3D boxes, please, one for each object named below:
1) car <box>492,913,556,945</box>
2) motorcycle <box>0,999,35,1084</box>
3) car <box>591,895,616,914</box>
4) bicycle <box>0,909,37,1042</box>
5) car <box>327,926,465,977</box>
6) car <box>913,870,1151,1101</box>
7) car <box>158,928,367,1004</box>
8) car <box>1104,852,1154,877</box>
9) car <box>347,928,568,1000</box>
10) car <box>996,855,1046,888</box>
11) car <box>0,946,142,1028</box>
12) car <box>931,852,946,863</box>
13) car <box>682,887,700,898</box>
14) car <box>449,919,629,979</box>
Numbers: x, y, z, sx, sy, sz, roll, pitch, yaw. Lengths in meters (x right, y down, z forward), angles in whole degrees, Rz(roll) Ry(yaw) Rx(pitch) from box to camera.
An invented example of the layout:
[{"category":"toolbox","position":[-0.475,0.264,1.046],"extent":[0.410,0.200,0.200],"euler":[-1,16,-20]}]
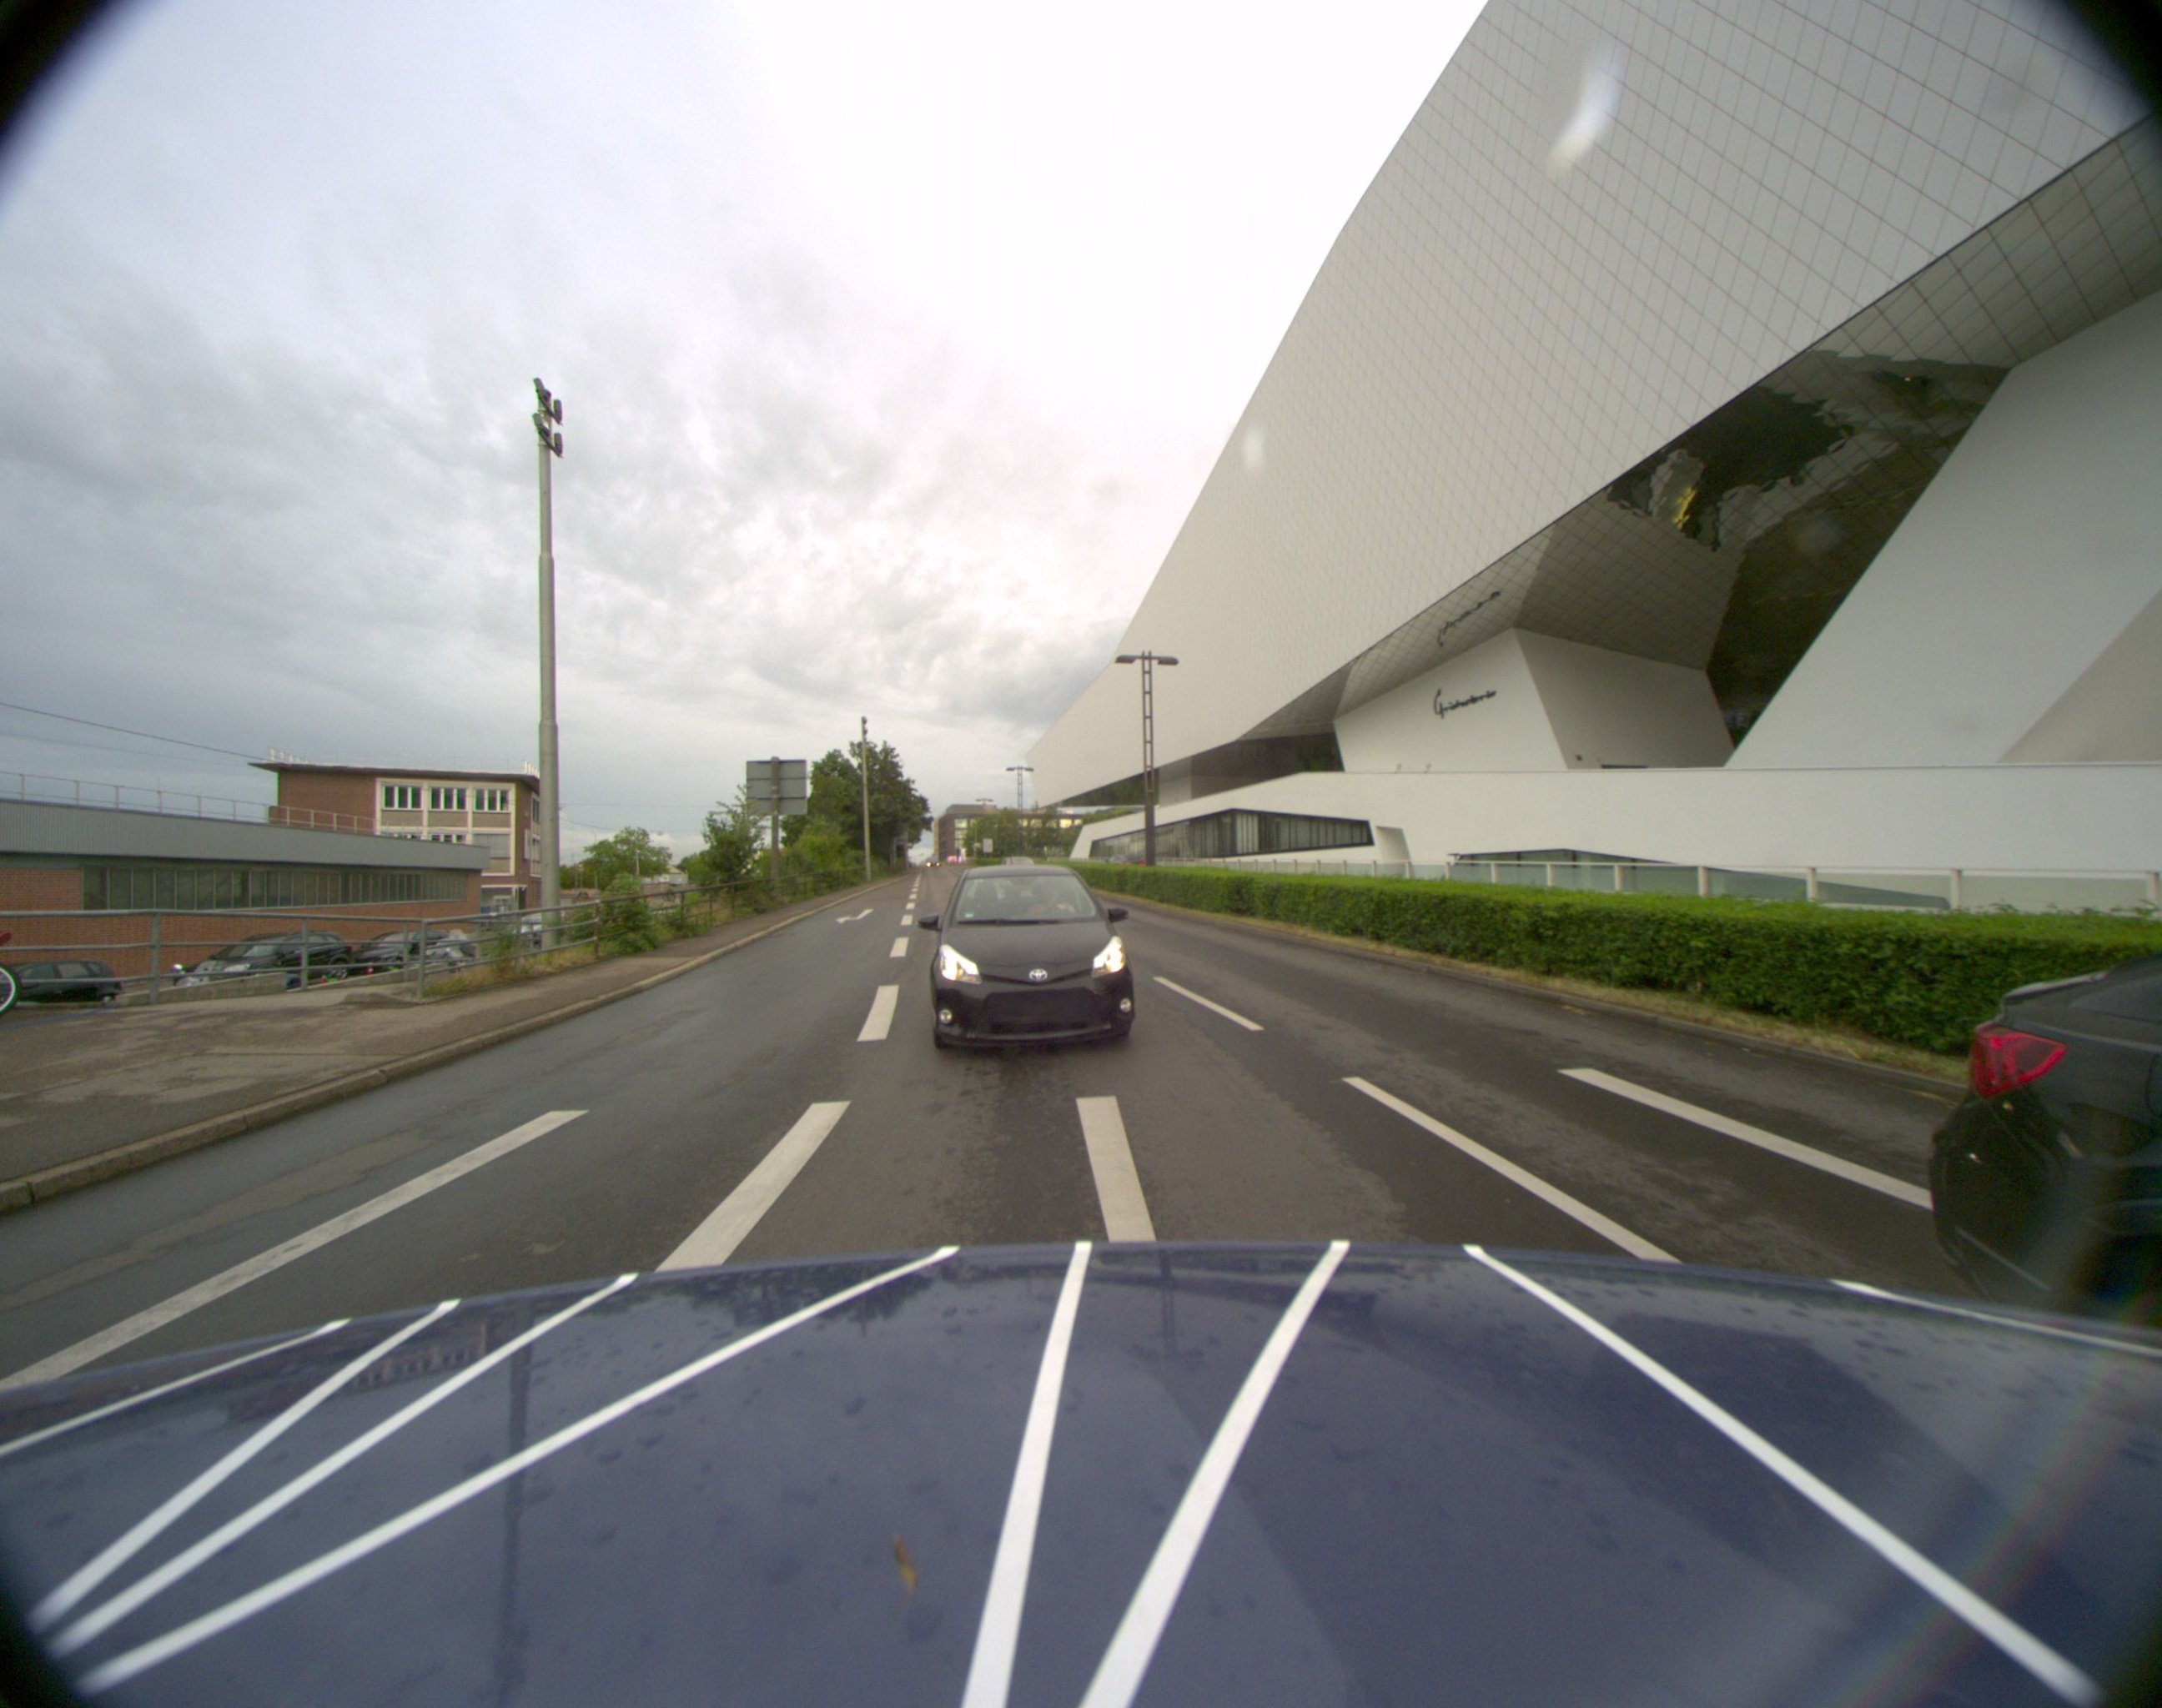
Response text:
[{"category":"car","position":[-30.188,4.042,41.277],"extent":[1.735,1.380,3.994],"euler":[-2,-1,-20]},{"category":"motorcycle","position":[-13.358,2.243,8.684],"extent":[1.618,0.916,0.420],"euler":[-3,1,-24]},{"category":"car","position":[-42.113,4.426,67.081],"extent":[1.723,1.417,3.991],"euler":[-1,-1,-30]},{"category":"bicycle","position":[-10.384,1.094,6.568],"extent":[1.547,1.148,0.450],"euler":[0,2,-27]},{"category":"car","position":[-25.684,3.608,28.726],"extent":[1.720,1.396,4.273],"euler":[-2,-1,-7]},{"category":"car","position":[-0.619,0.992,7.548],"extent":[1.695,1.498,4.008],"euler":[-2,1,-8]},{"category":"car","position":[-24.432,3.270,22.977],"extent":[1.784,1.657,4.503],"euler":[-2,-1,-7]},{"category":"car","position":[2.710,0.558,43.374],"extent":[1.726,1.330,3.995],"euler":[-2,1,-13]},{"category":"car","position":[-14.917,2.618,18.294],"extent":[3.995,1.417,1.722],"euler":[-2,-1,5]},{"category":"car","position":[-2.981,0.815,36.952],"extent":[1.819,1.430,4.297],"euler":[-2,0,-12]},{"category":"car","position":[-23.264,2.919,16.281],"extent":[1.721,1.417,3.997],"euler":[-2,-1,-10]},{"category":"car","position":[-19.670,0.430,104.589],"extent":[1.750,1.466,4.063],"euler":[-2,1,-14]},{"category":"car","position":[-55.389,5.470,107.783],"extent":[1.724,1.417,3.991],"euler":[-1,-1,-34]},{"category":"car","position":[-15.490,2.706,21.834],"extent":[3.995,1.417,1.722],"euler":[-2,-1,5]}]
